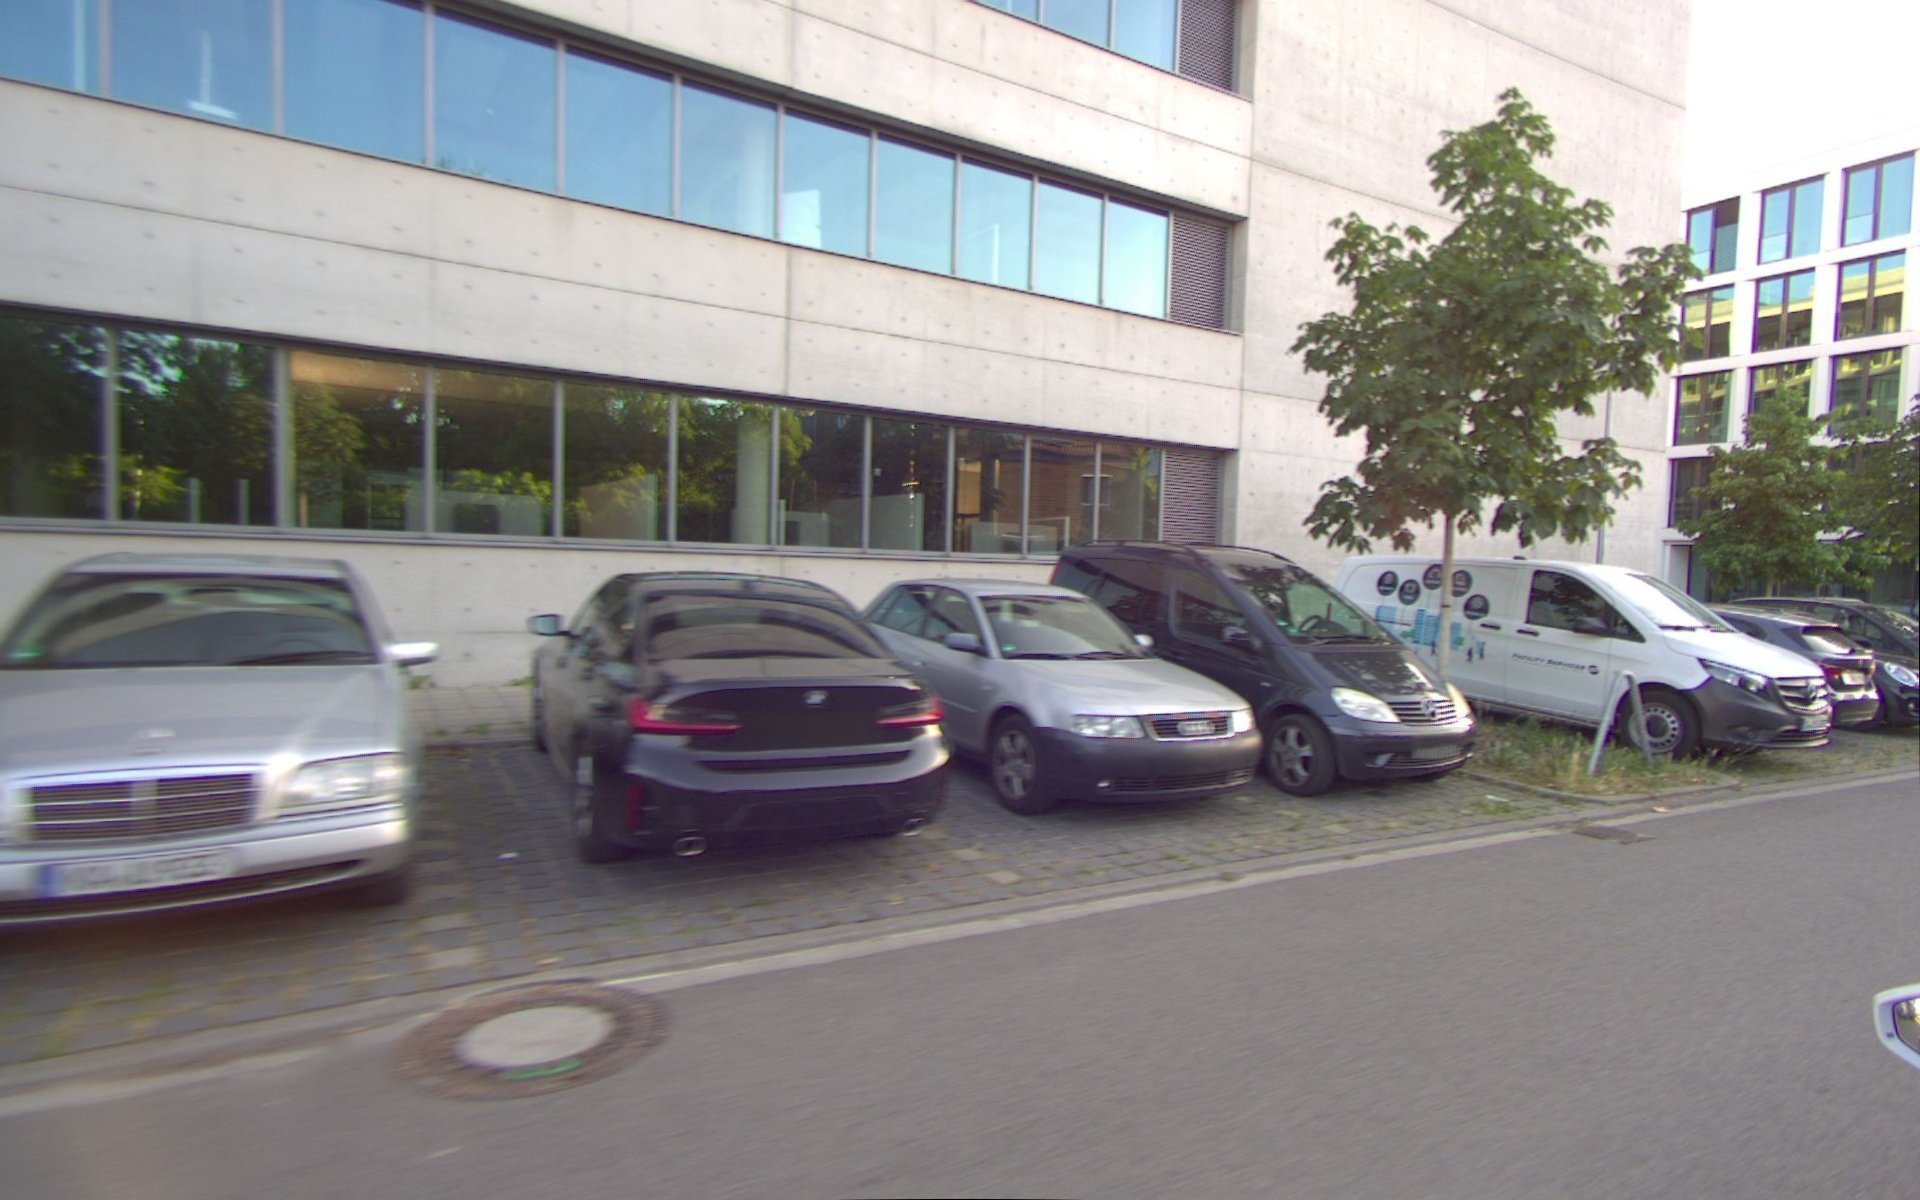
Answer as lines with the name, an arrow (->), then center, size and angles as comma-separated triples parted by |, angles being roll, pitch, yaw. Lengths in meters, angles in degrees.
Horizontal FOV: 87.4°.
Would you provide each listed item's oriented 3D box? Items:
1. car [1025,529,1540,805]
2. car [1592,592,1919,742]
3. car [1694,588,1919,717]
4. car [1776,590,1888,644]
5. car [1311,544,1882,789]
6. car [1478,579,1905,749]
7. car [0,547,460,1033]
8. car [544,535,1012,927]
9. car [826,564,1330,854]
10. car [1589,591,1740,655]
car -> 2.513, 0.342, 8.958 | 1.705, 1.766, 4.224 | 1, 4, -31
car -> 11.176, 0.790, 13.782 | 1.631, 1.509, 3.869 | 1, 4, -29
car -> 13.570, 0.750, 15.161 | 1.638, 1.598, 3.624 | 1, 4, -24
car -> 28.467, 0.521, 32.781 | 3.508, 1.506, 1.714 | -2, 3, -30
car -> 6.681, 0.475, 11.339 | 1.866, 1.973, 5.051 | 1, 4, -30
car -> 8.926, 0.653, 12.645 | 1.587, 1.543, 3.966 | 1, 4, -31
car -> -3.736, 0.492, 5.184 | 1.743, 1.484, 4.410 | -1, 3, -31
car -> -1.539, 0.437, 6.455 | 1.740, 1.519, 4.380 | 1, 4, -27
car -> 0.573, 0.567, 7.823 | 1.705, 1.423, 4.122 | 1, 4, -31
car -> 18.733, 0.622, 26.681 | 3.887, 1.506, 1.771 | 2, 1, -30
